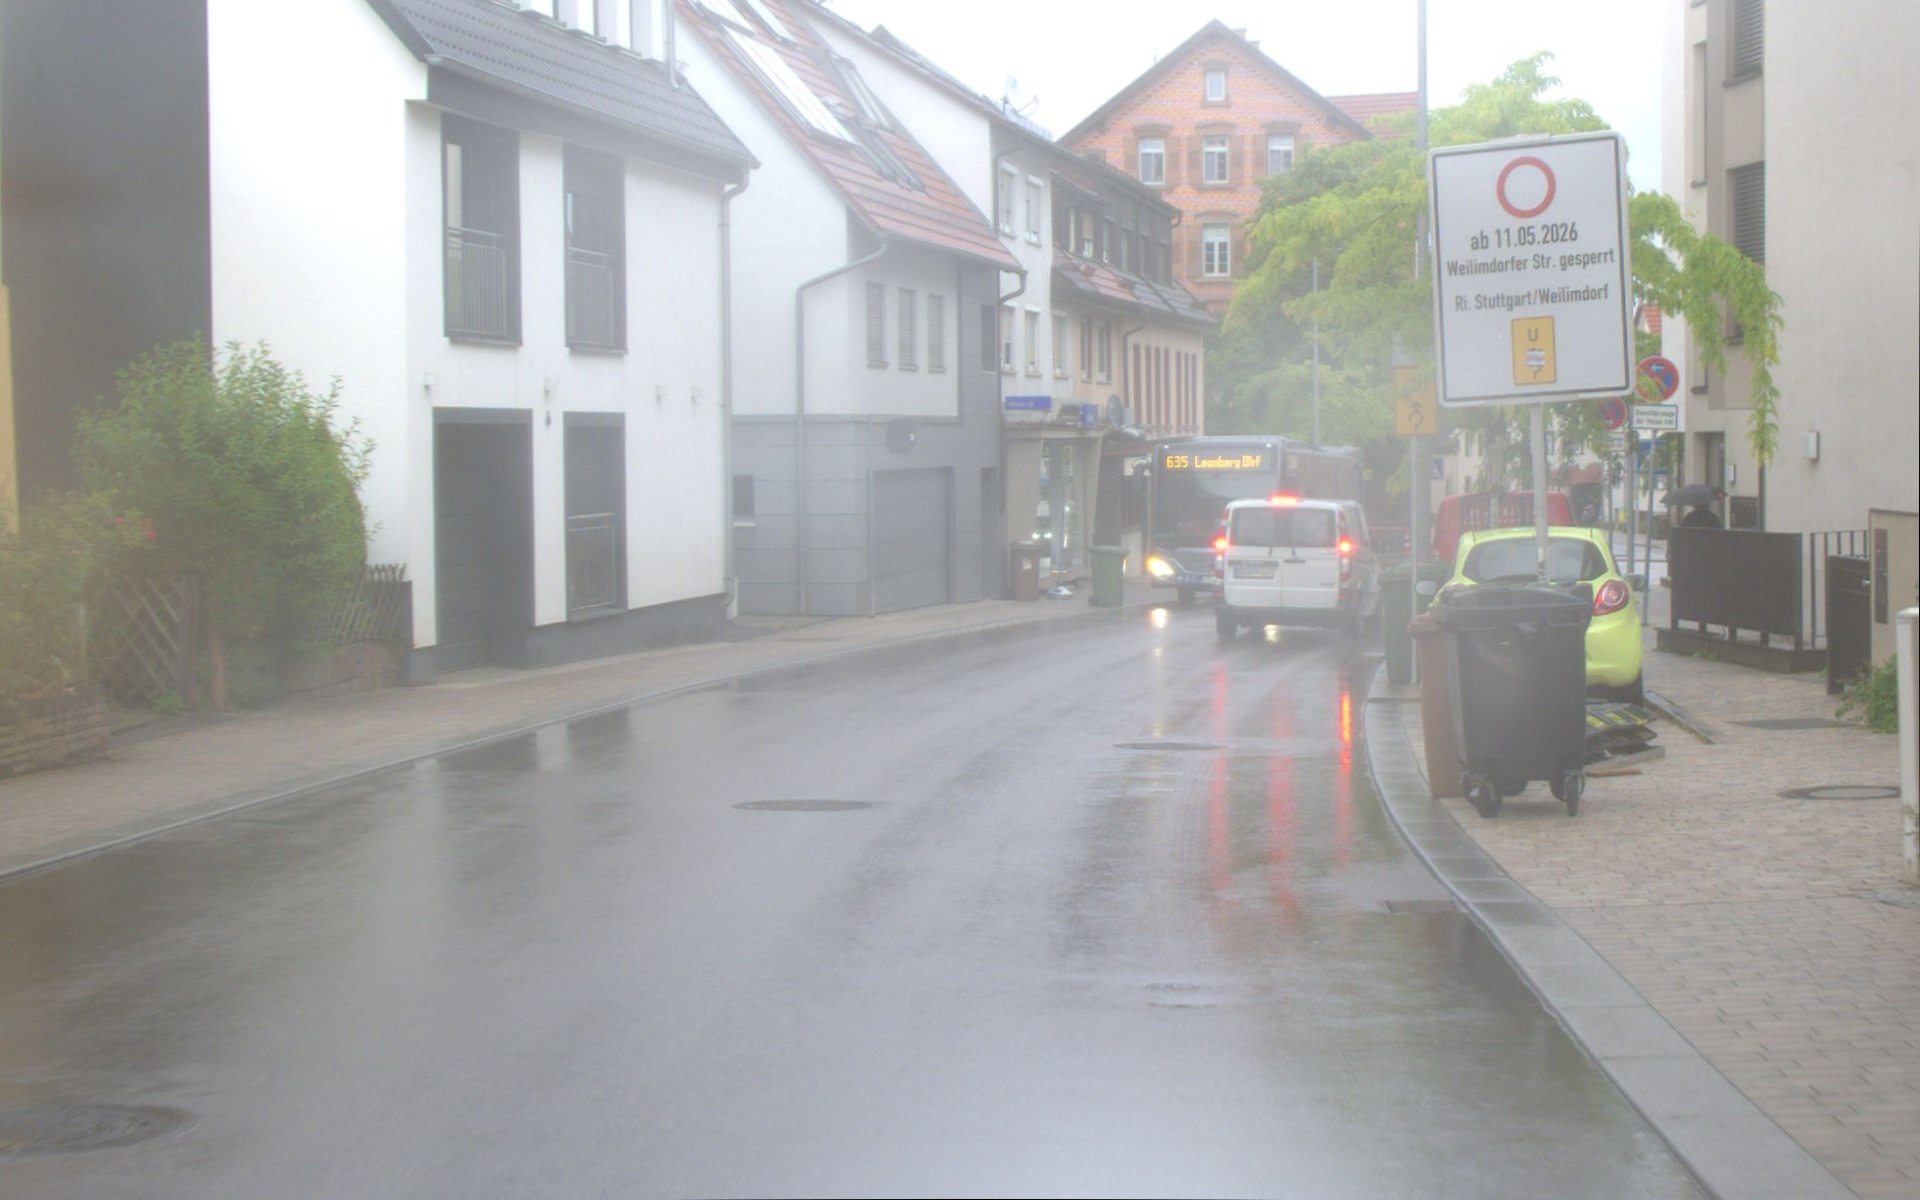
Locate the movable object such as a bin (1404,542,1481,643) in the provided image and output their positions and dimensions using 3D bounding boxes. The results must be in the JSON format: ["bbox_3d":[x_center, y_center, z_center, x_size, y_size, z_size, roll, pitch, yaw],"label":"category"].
[{"bbox_3d":[5.365,-0.082,38.202,0.810,1.105,0.985,0,0,10],"label":"movable object such as a bin"}]

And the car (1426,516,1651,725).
[{"bbox_3d":[4.547,0.121,27.371,1.603,1.479,3.300,-3,1,8],"label":"car"}]

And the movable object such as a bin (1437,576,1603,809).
[{"bbox_3d":[2.952,0.465,18.250,0.767,1.169,1.541,0,1,6],"label":"movable object such as a bin"}]

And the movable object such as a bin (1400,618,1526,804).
[{"bbox_3d":[2.887,0.628,19.747,0.707,1.042,0.517,0,1,9],"label":"movable object such as a bin"}]

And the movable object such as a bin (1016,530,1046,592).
[{"bbox_3d":[1.300,-0.719,62.614,0.518,1.118,0.635,0,1,3],"label":"movable object such as a bin"}]

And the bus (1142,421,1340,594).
[{"bbox_3d":[5.592,-1.822,66.893,2.741,3.119,9.230,0,2,12],"label":"bus"}]

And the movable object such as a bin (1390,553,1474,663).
[{"bbox_3d":[4.796,0.075,34.890,0.810,1.105,0.985,0,1,10],"label":"movable object such as a bin"}]

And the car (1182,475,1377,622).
[{"bbox_3d":[4.355,-0.705,46.258,2.196,1.845,4.302,-1,1,11],"label":"car"}]

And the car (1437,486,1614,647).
[{"bbox_3d":[6.597,-0.397,39.827,1.713,1.756,3.998,0,1,14],"label":"car"}]

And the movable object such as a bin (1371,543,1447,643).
[{"bbox_3d":[5.394,-0.093,41.285,0.810,1.181,0.985,0,1,13],"label":"movable object such as a bin"}]

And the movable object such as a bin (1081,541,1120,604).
[{"bbox_3d":[2.498,-0.497,61.126,0.634,1.118,0.519,0,1,7],"label":"movable object such as a bin"}]
